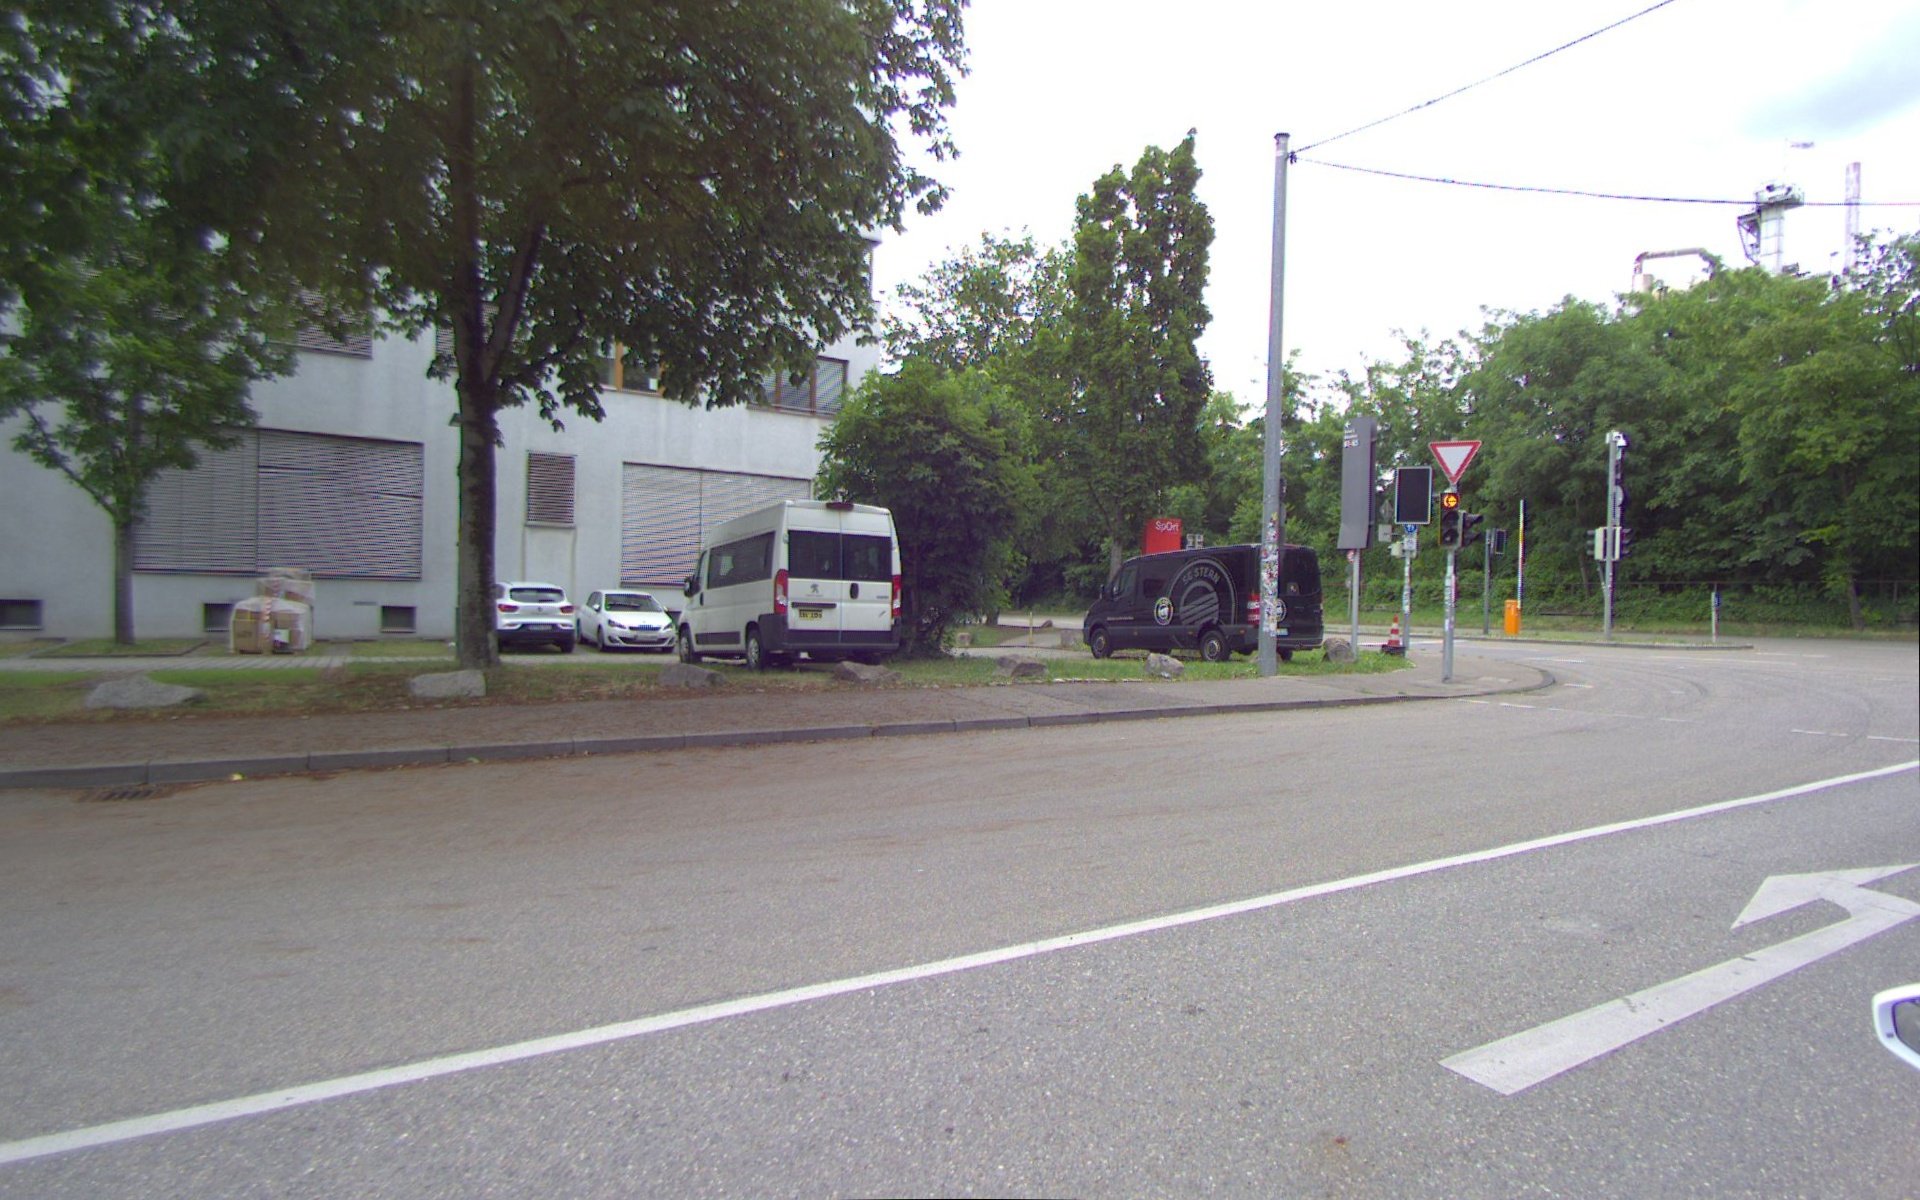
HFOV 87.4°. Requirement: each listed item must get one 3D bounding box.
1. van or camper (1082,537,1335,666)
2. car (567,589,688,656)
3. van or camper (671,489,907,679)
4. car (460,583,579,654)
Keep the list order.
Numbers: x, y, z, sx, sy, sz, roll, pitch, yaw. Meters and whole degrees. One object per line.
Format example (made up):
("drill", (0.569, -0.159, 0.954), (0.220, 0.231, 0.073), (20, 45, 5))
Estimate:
("van or camper", (5.017, 0.128, 21.264), (2.036, 2.343, 5.513), (3, -3, -28))
("car", (-8.526, 0.529, 25.565), (1.881, 1.475, 3.972), (3, 0, -34))
("van or camper", (-2.987, -0.236, 16.462), (2.039, 2.604, 4.943), (3, 0, -32))
("car", (-10.578, 0.406, 23.979), (1.881, 1.475, 3.972), (3, 0, -34))
